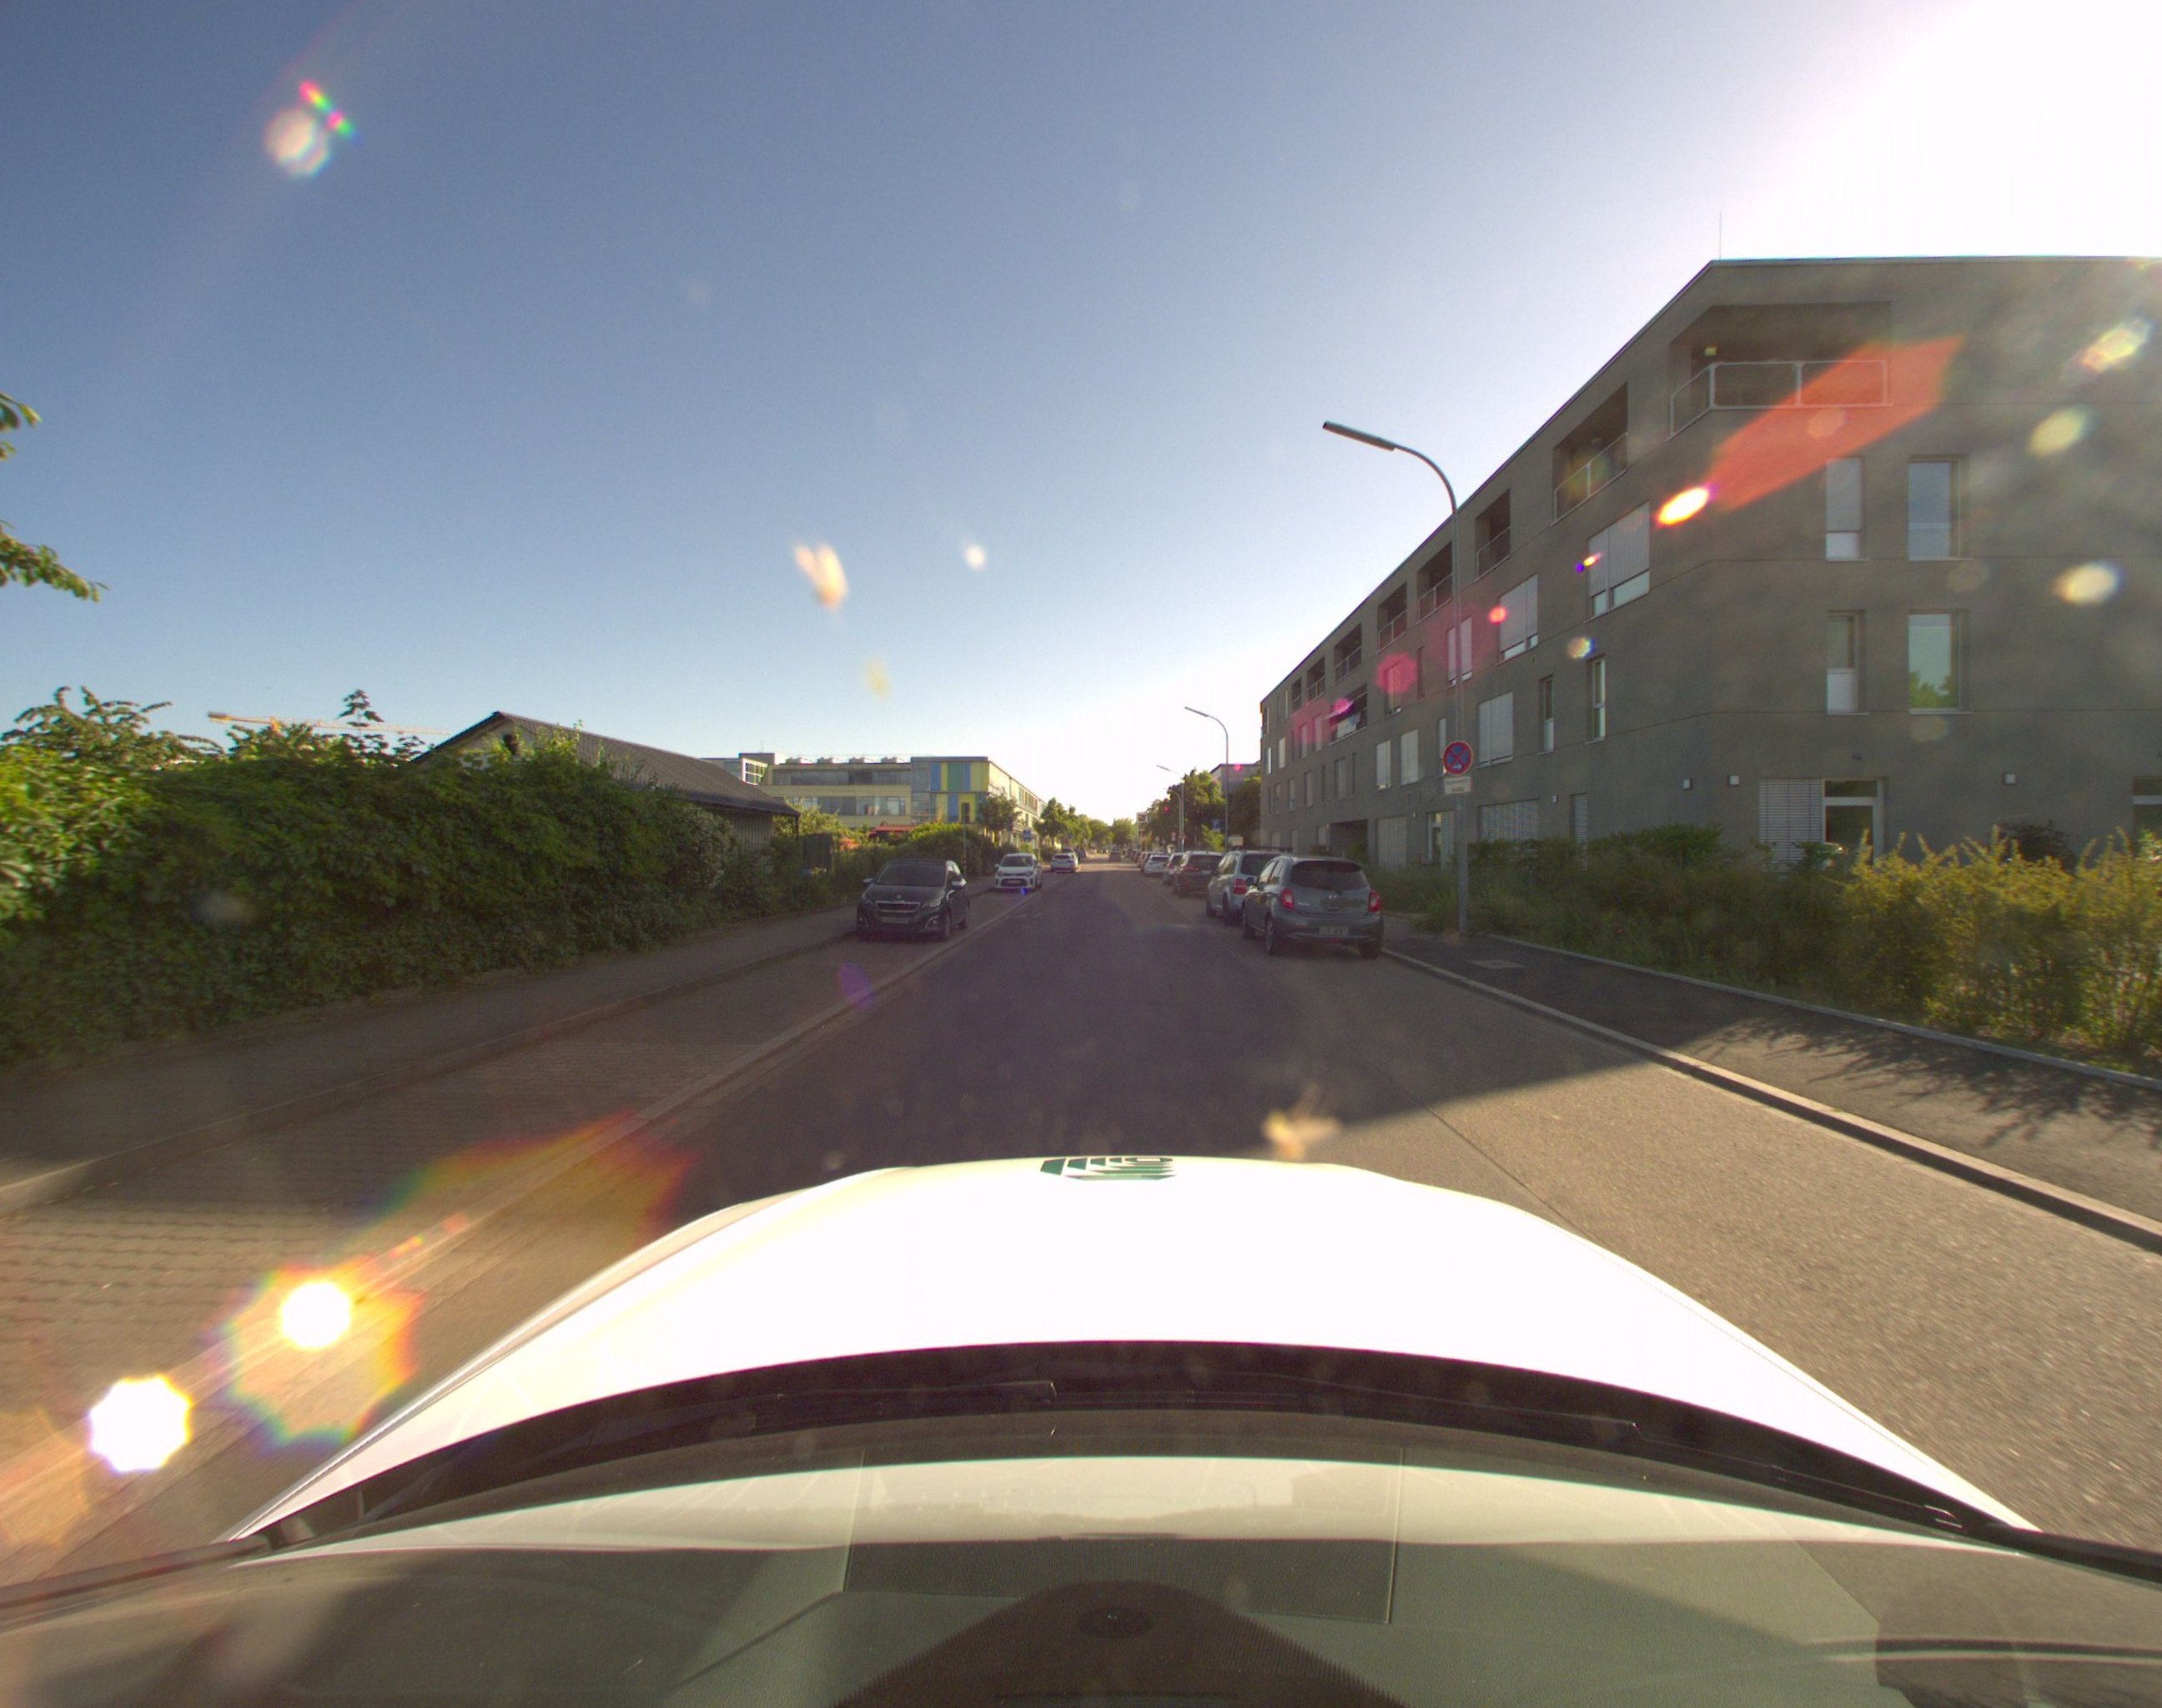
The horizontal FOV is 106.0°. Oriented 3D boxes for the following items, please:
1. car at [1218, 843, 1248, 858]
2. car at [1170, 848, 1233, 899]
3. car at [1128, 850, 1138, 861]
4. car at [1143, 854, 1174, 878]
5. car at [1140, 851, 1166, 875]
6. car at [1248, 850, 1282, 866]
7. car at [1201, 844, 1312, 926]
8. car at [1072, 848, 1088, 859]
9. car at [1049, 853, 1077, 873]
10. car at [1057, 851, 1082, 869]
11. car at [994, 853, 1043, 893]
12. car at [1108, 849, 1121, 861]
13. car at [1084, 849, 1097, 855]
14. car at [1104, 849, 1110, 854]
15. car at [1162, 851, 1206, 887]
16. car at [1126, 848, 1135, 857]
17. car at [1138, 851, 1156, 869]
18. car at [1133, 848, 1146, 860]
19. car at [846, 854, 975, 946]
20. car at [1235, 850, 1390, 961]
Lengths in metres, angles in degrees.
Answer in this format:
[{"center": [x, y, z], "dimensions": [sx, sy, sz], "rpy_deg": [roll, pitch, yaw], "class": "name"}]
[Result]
[{"center": [17.044, -0.376, 91.478], "dimensions": [3.201, 1.549, 1.452], "rpy_deg": [2, 0, 4], "class": "car"}, {"center": [4.204, 0.644, 28.990], "dimensions": [1.735, 1.625, 4.180], "rpy_deg": [1, 0, 2], "class": "car"}, {"center": [7.860, 0.178, 123.550], "dimensions": [1.440, 1.549, 3.615], "rpy_deg": [1, 0, 1], "class": "car"}, {"center": [5.017, 0.754, 52.927], "dimensions": [1.735, 1.428, 4.136], "rpy_deg": [1, 0, 2], "class": "car"}, {"center": [5.172, 0.603, 58.938], "dimensions": [1.626, 1.630, 3.615], "rpy_deg": [1, 0, 1], "class": "car"}, {"center": [18.828, 0.393, 83.306], "dimensions": [3.201, 1.460, 1.452], "rpy_deg": [2, 0, 4], "class": "car"}, {"center": [3.876, 0.620, 18.667], "dimensions": [1.670, 1.608, 4.180], "rpy_deg": [2, 0, 1], "class": "car"}, {"center": [-0.200, -0.055, 121.278], "dimensions": [1.845, 1.563, 4.142], "rpy_deg": [1, 0, 7], "class": "car"}, {"center": [-1.334, 0.651, 61.990], "dimensions": [1.847, 1.428, 4.136], "rpy_deg": [2, 0, 2], "class": "car"}, {"center": [-0.945, 0.520, 69.717], "dimensions": [1.847, 1.428, 4.136], "rpy_deg": [2, 0, 2], "class": "car"}, {"center": [-2.448, 0.701, 32.658], "dimensions": [1.554, 1.495, 3.760], "rpy_deg": [-1, 0, 2], "class": "car"}, {"center": [4.625, 0.165, 111.680], "dimensions": [1.683, 1.549, 3.615], "rpy_deg": [1, 0, 1], "class": "car"}, {"center": [2.672, -0.626, 236.619], "dimensions": [3.594, 1.549, 1.448], "rpy_deg": [2, 0, -4], "class": "car"}, {"center": [7.642, -0.750, 243.121], "dimensions": [1.658, 1.549, 3.903], "rpy_deg": [1, 0, 1], "class": "car"}, {"center": [4.746, 0.671, 37.979], "dimensions": [1.651, 1.551, 3.852], "rpy_deg": [1, 0, 2], "class": "car"}, {"center": [9.065, -0.294, 148.950], "dimensions": [1.440, 1.549, 3.615], "rpy_deg": [1, 0, 1], "class": "car"}, {"center": [6.062, 0.543, 75.339], "dimensions": [1.440, 1.549, 3.615], "rpy_deg": [1, 0, 1], "class": "car"}, {"center": [7.699, -0.022, 107.541], "dimensions": [1.440, 1.549, 3.615], "rpy_deg": [1, 0, 1], "class": "car"}, {"center": [-3.123, 0.781, 15.616], "dimensions": [1.554, 1.494, 3.572], "rpy_deg": [2, 0, 2], "class": "car"}, {"center": [3.681, 0.734, 13.621], "dimensions": [1.616, 1.526, 3.904], "rpy_deg": [2, 0, 3], "class": "car"}]
